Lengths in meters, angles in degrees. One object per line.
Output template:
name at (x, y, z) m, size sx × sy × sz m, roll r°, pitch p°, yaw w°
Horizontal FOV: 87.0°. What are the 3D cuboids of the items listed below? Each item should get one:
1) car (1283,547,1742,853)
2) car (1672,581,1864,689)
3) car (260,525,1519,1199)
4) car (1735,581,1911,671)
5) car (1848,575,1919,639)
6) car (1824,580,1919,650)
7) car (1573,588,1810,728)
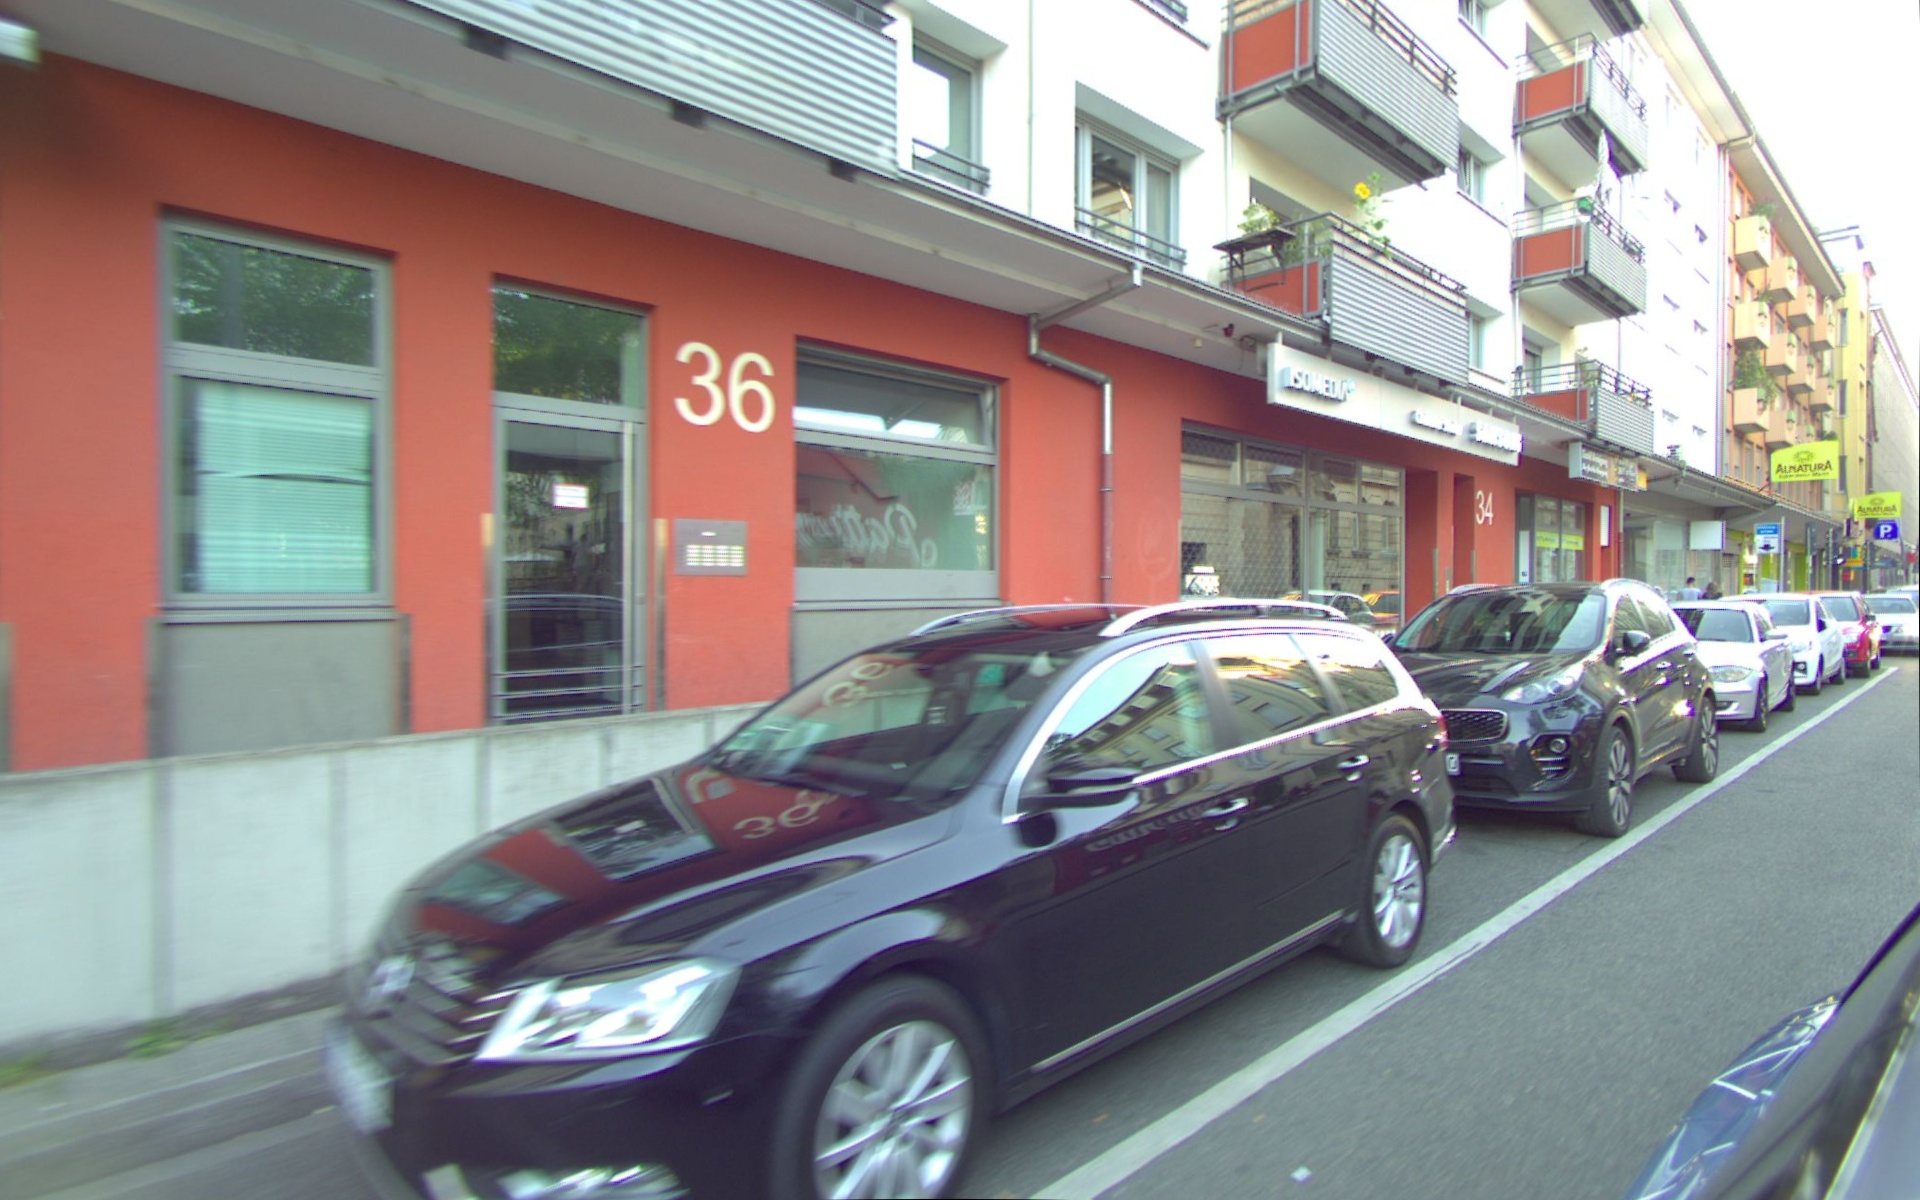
car at (4.395, 0.555, 7.772) m, size 4.067 × 1.721 × 1.881 m, roll -1°, pitch -1°, yaw -43°
car at (12.814, 0.482, 15.969) m, size 3.880 × 1.496 × 1.765 m, roll -1°, pitch -1°, yaw -42°
car at (0.211, 0.658, 3.829) m, size 4.550 × 1.572 × 1.877 m, roll -1°, pitch -1°, yaw -41°
car at (16.109, 0.420, 18.818) m, size 4.318 × 1.496 × 1.865 m, roll -1°, pitch -1°, yaw -41°
car at (25.985, 0.158, 27.534) m, size 4.288 × 1.637 × 1.998 m, roll -1°, pitch -1°, yaw -39°
car at (21.872, 0.311, 23.690) m, size 4.226 × 1.496 × 1.895 m, roll -1°, pitch -1°, yaw -41°
car at (8.986, 0.584, 12.307) m, size 1.748 × 1.421 × 3.903 m, roll -1°, pitch -1°, yaw 45°
